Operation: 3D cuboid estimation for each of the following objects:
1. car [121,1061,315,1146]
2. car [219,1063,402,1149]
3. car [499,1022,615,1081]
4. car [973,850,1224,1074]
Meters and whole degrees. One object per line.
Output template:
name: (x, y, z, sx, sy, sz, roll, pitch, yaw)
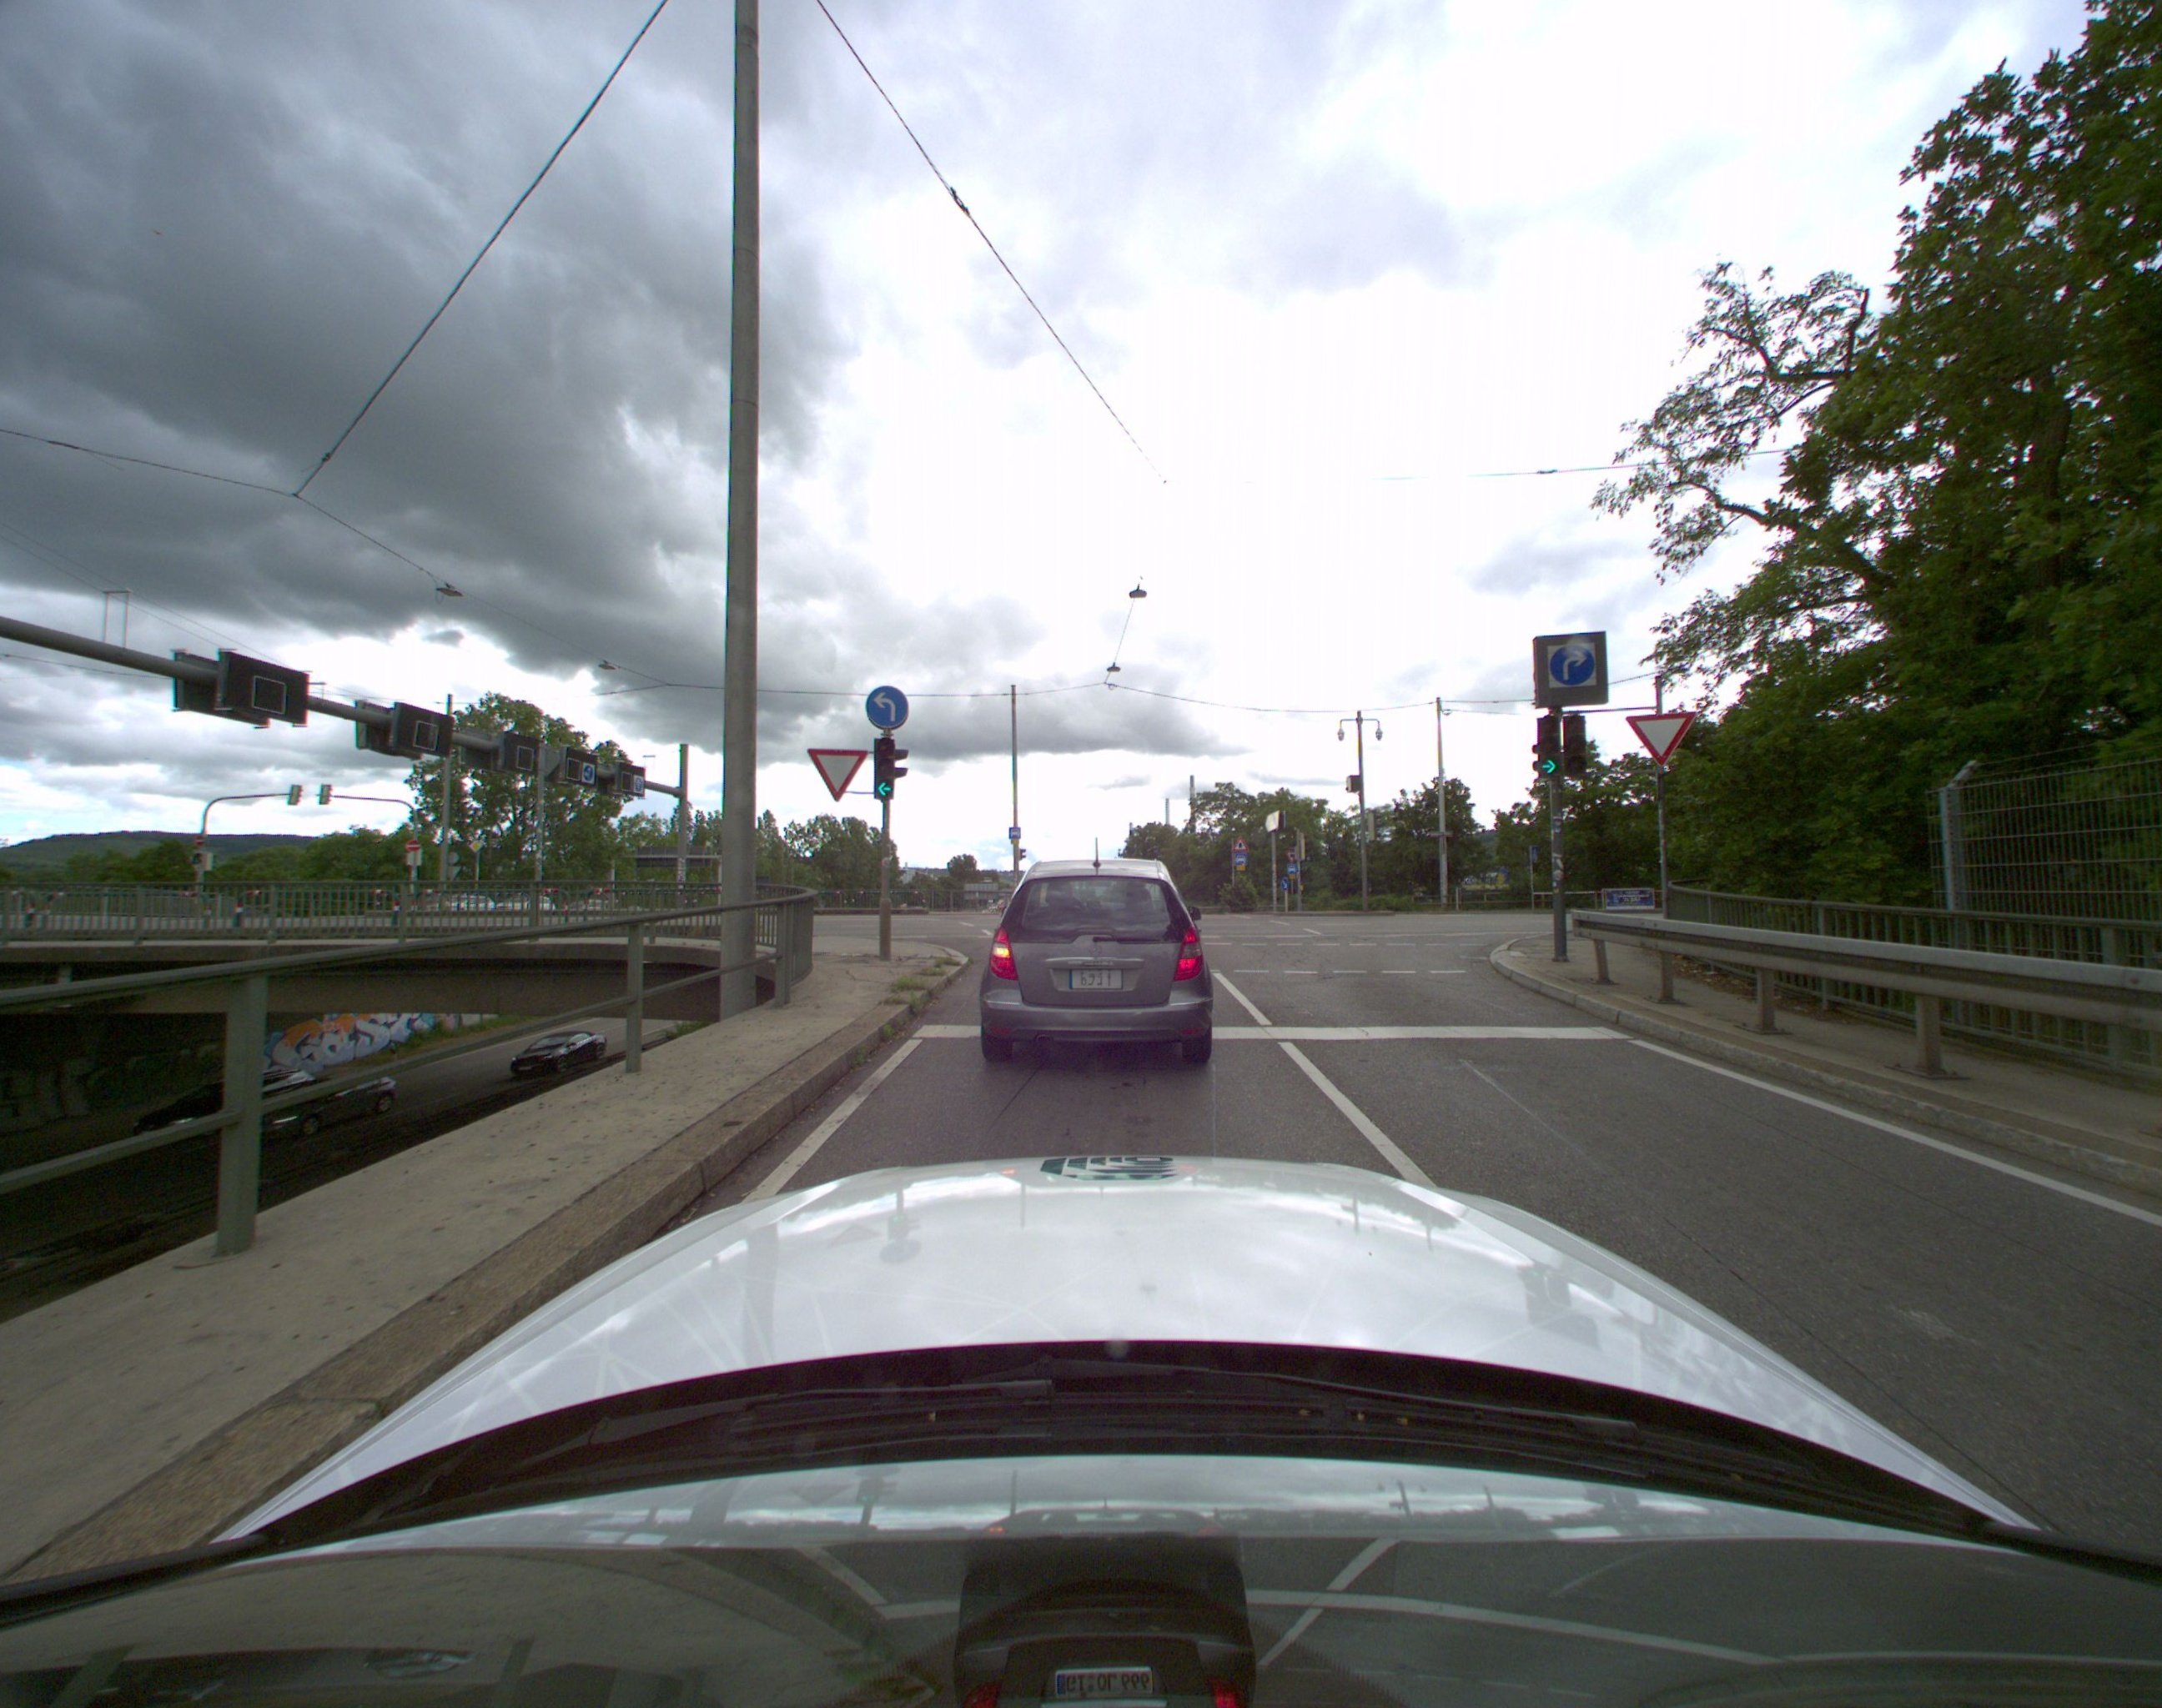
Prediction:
car: (-28.514, 8.192, 27.154, 1.815, 1.611, 4.298, -2, -3, 0)
car: (-24.758, 8.071, 26.437, 1.815, 1.612, 4.297, -2, -3, 0)
car: (-22.316, 8.396, 34.942, 1.832, 1.493, 4.571, -4, -3, 2)
car: (0.182, 0.778, 7.449, 1.733, 1.543, 3.542, -1, -1, 2)
